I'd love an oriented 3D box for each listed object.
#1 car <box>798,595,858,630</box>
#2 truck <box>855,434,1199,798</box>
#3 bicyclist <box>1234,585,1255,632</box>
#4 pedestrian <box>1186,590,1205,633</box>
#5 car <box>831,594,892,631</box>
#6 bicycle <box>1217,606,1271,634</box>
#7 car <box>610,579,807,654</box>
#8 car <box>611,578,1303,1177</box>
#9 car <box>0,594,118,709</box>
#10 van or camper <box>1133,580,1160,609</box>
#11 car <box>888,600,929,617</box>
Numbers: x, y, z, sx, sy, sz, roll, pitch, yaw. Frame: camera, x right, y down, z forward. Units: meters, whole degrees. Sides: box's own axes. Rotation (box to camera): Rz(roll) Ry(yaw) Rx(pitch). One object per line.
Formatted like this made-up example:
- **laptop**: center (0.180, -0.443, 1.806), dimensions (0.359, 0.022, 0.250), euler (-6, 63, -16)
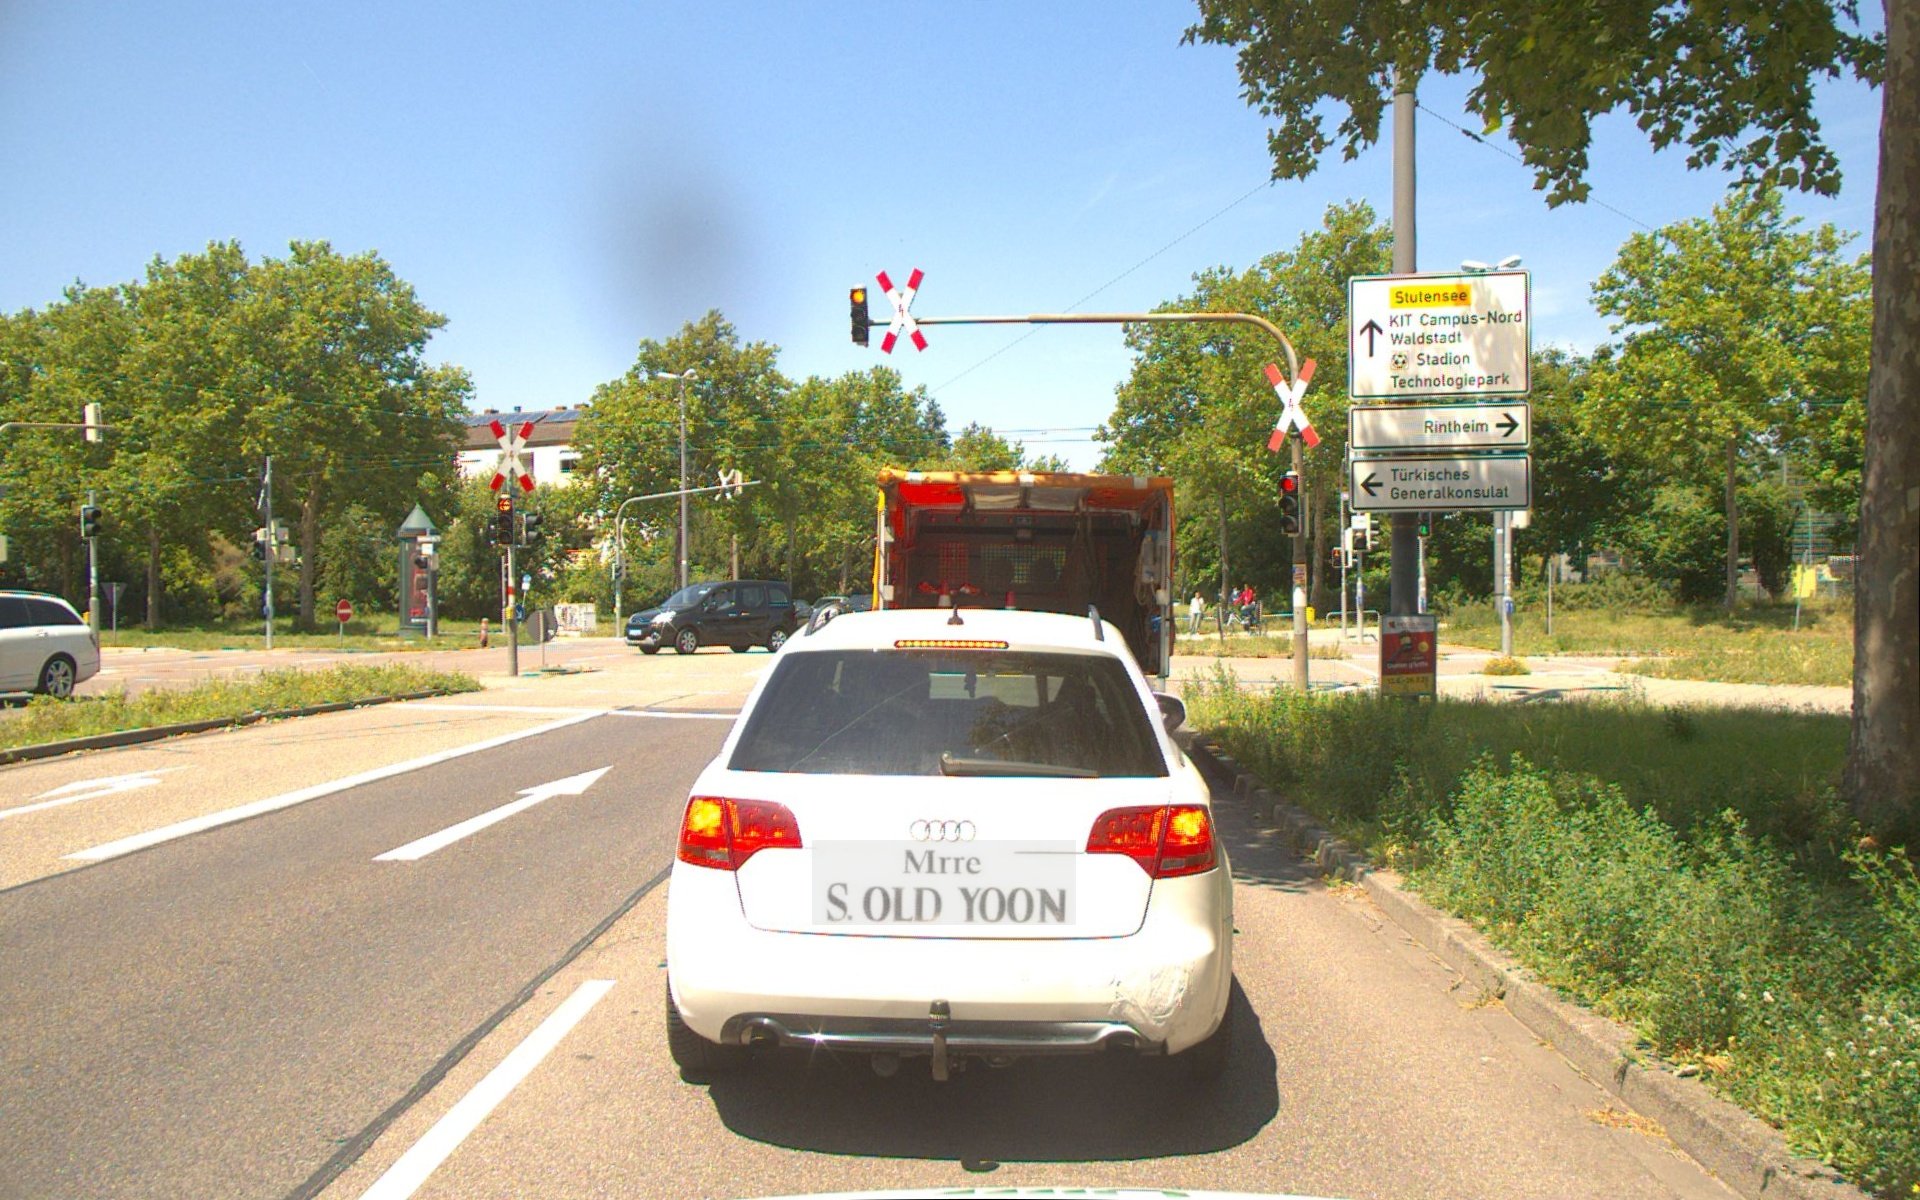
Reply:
- **car**: center (-6.423, 0.596, 80.757), dimensions (1.749, 1.643, 4.408), euler (-1, 0, 11)
- **truck**: center (0.640, 0.123, 15.809), dimensions (2.459, 2.604, 7.605), euler (1, 0, 2)
- **bicyclist**: center (9.610, 0.283, 55.922), dimensions (0.657, 1.583, 0.580), euler (-1, 0, 7)
- **pedestrian**: center (8.335, 0.406, 58.525), dimensions (0.541, 1.510, 0.630), euler (-1, 0, 16)
- **car**: center (-4.385, 0.531, 74.038), dimensions (1.868, 1.566, 4.302), euler (-1, 0, 8)
- **bicycle**: center (9.587, 0.683, 55.927), dimensions (1.767, 0.911, 0.589), euler (-1, 0, 6)
- **car**: center (-6.077, 0.366, 40.222), dimensions (4.401, 1.708, 1.890), euler (-1, 0, -40)
- **car**: center (0.090, 0.679, 5.948), dimensions (1.725, 1.470, 3.617), euler (0, 0, 3)
- **car**: center (-13.019, 0.664, 20.874), dimensions (1.813, 1.443, 4.551), euler (-1, 0, 11)
- **van or camper**: center (22.581, -0.683, 200.145), dimensions (2.604, 3.389, 5.505), euler (0, 0, 14)
- **car**: center (-4.333, 0.704, 139.124), dimensions (1.844, 1.417, 3.997), euler (0, 0, 26)
